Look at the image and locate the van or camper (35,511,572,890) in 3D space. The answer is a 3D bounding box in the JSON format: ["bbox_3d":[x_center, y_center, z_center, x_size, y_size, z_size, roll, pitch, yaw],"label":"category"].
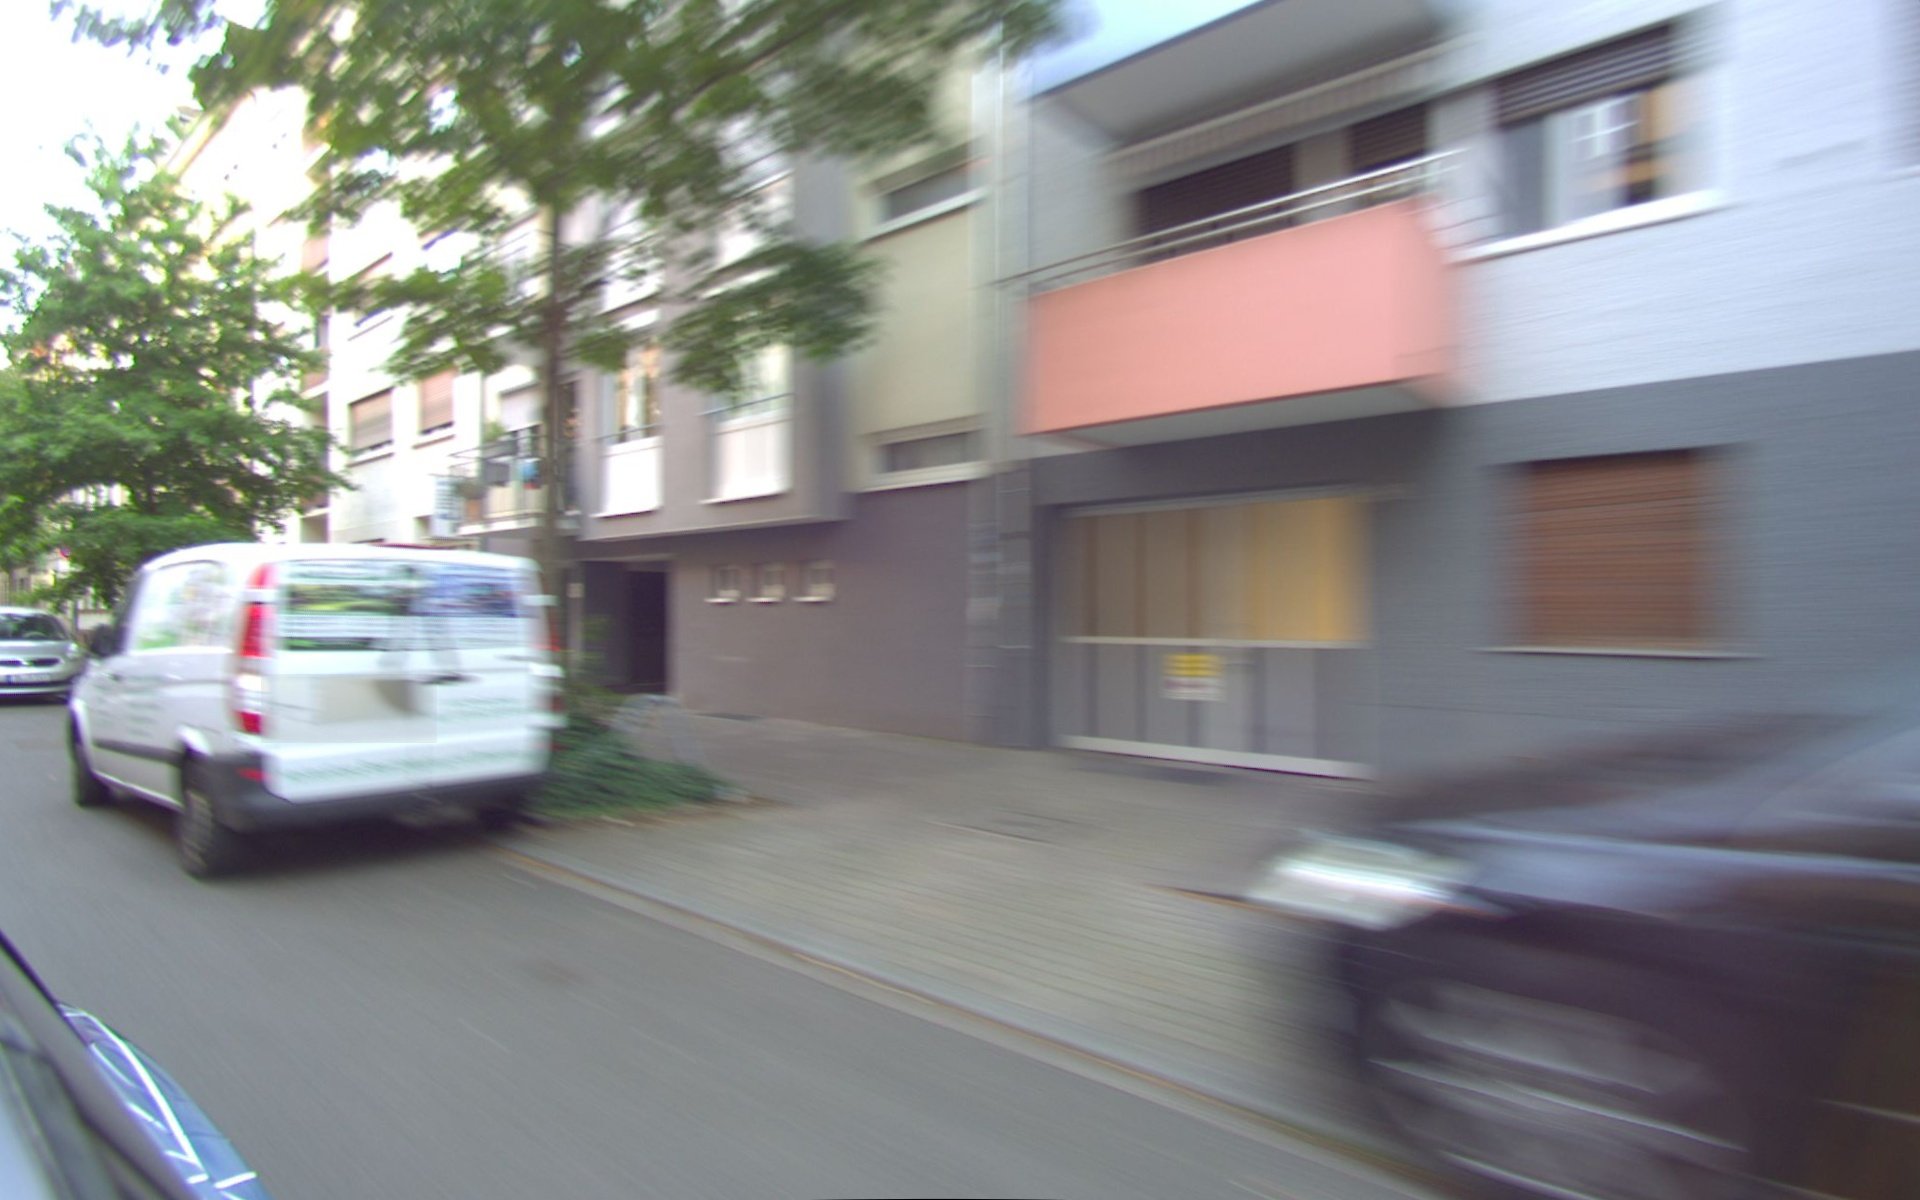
[{"bbox_3d":[-4.881,0.549,7.210,4.748,1.857,1.858,-1,-2,40],"label":"van or camper"}]

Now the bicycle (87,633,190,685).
[{"bbox_3d":[-15.845,1.123,19.572,0.379,0.905,1.698,-1,0,11],"label":"bicycle"}]

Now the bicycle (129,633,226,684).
[{"bbox_3d":[-15.217,1.120,19.735,0.379,0.905,1.659,-1,0,11],"label":"bicycle"}]

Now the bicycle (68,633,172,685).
[{"bbox_3d":[-16.289,1.128,19.673,0.379,0.914,1.698,-1,0,11],"label":"bicycle"}]

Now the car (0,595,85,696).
[{"bbox_3d":[-16.430,0.740,17.175,3.994,1.575,1.647,-1,-2,38],"label":"car"}]

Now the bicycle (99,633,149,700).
[{"bbox_3d":[-15.015,1.172,18.174,1.664,1.112,0.415,-1,-1,41],"label":"bicycle"}]

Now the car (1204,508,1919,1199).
[{"bbox_3d":[3.202,0.623,2.028,4.919,1.659,1.973,-1,0,41],"label":"car"}]

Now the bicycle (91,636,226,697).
[{"bbox_3d":[-13.670,1.119,17.302,1.702,1.002,0.578,0,-2,-15],"label":"bicycle"}]
